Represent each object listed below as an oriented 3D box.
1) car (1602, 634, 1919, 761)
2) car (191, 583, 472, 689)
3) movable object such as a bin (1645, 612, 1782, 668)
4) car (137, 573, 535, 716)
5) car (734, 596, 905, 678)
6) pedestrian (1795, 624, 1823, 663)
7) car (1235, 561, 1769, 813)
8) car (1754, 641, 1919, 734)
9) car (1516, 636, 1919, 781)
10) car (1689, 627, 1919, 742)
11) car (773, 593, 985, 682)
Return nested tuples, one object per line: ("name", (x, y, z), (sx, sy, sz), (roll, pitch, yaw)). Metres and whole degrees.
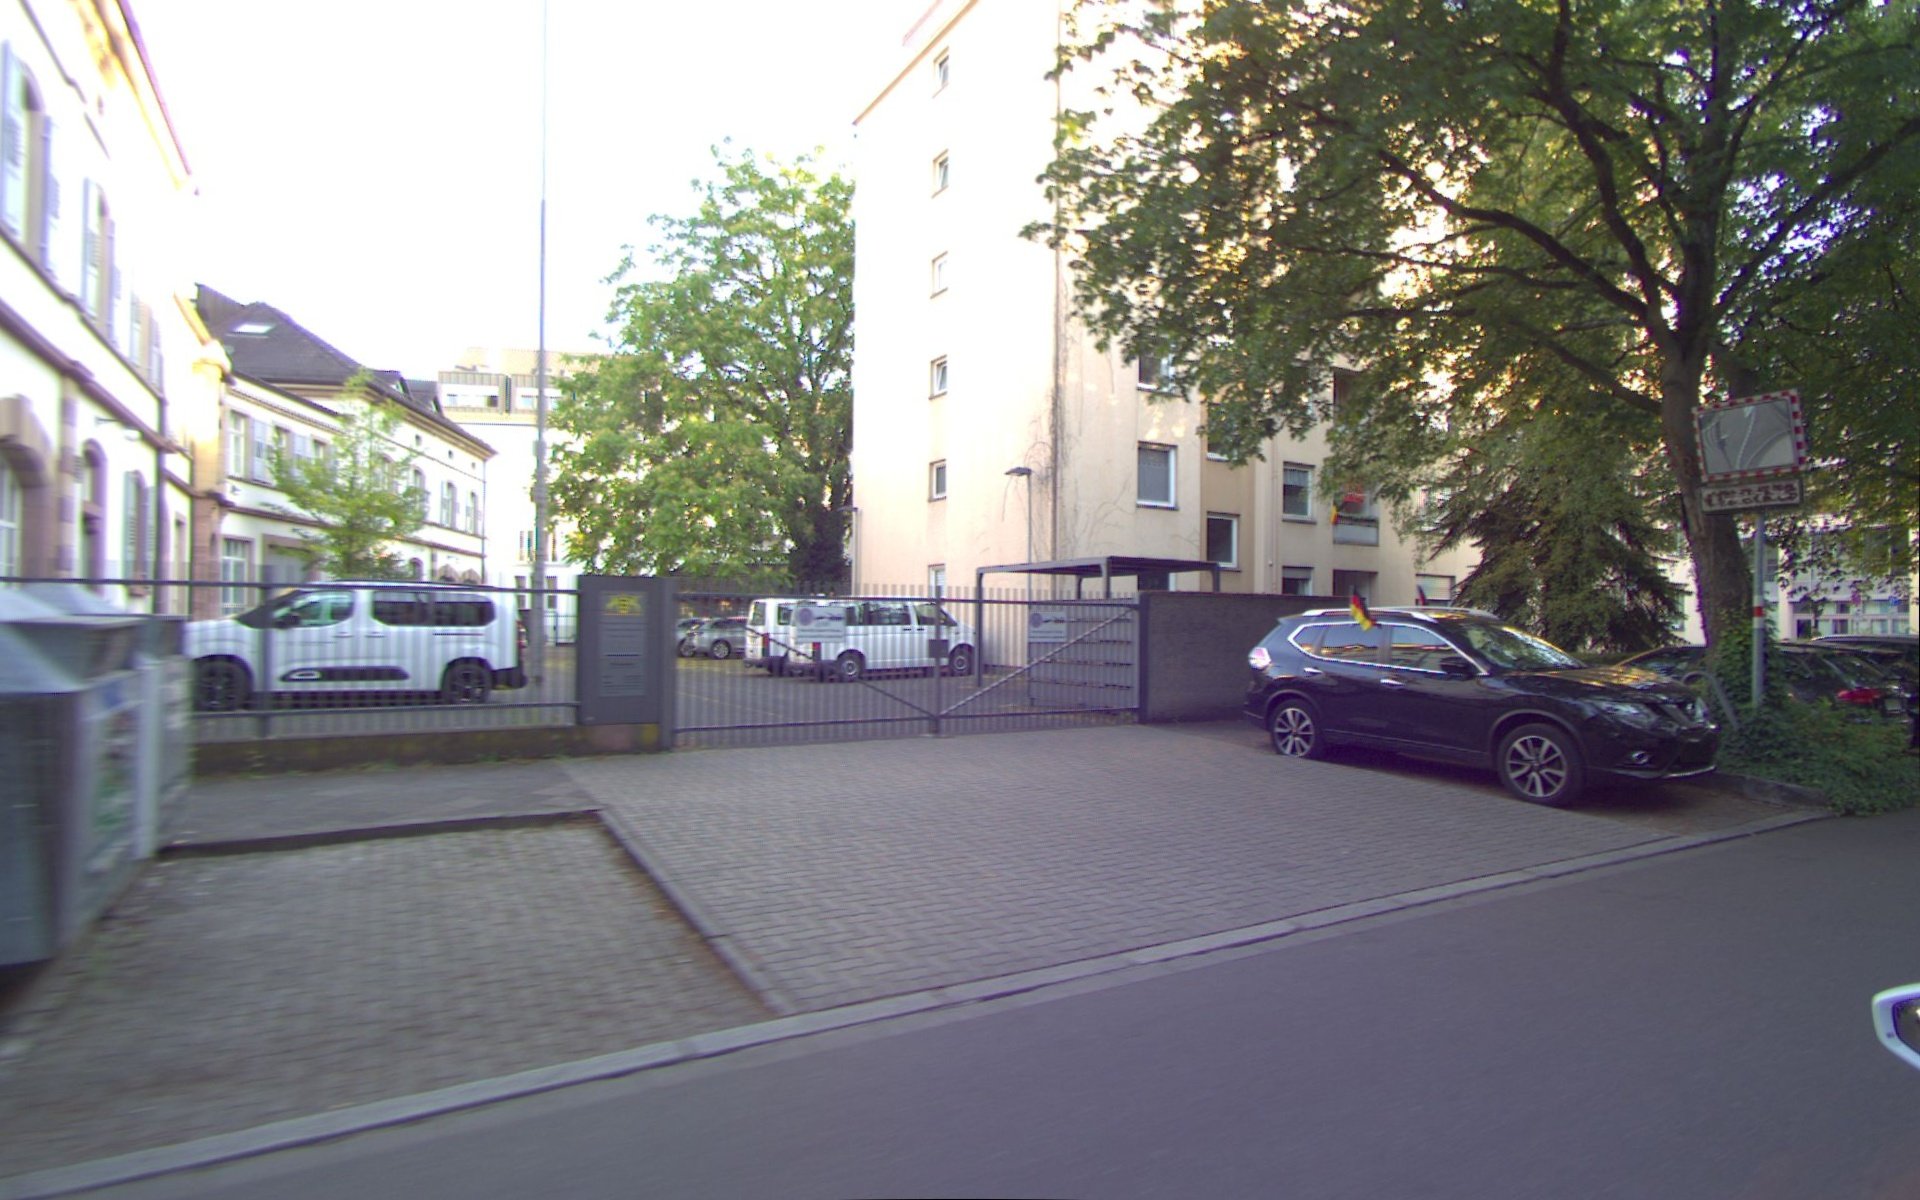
("car", (11.653, 1.266, 14.224), (1.806, 1.510, 3.964), (1, -1, -33))
("car", (-12.717, 0.721, 20.581), (4.640, 1.950, 2.133), (2, -1, -34))
("movable object such as a bin", (38.594, 2.021, 51.694), (2.243, 2.728, 5.639), (0, -1, -10))
("car", (-8.893, 0.622, 14.686), (4.631, 1.781, 1.985), (2, -1, -34))
("car", (-3.644, 0.950, 26.074), (3.953, 1.973, 1.984), (1, -1, -30))
("pedestrian", (41.061, 2.085, 48.581), (0.874, 1.875, 0.875), (0, -1, 28))
("car", (5.223, 0.728, 10.349), (1.978, 1.981, 4.481), (2, -1, -32))
("car", (16.209, 1.455, 16.791), (1.857, 1.448, 4.267), (1, -1, -30))
("car", (9.668, 1.240, 12.955), (1.901, 1.483, 3.965), (1, -1, -32))
("car", (13.950, 1.243, 15.515), (1.903, 1.586, 3.975), (1, -1, -25))
("car", (-1.916, 0.883, 24.018), (4.646, 1.948, 2.043), (1, -1, -29))
